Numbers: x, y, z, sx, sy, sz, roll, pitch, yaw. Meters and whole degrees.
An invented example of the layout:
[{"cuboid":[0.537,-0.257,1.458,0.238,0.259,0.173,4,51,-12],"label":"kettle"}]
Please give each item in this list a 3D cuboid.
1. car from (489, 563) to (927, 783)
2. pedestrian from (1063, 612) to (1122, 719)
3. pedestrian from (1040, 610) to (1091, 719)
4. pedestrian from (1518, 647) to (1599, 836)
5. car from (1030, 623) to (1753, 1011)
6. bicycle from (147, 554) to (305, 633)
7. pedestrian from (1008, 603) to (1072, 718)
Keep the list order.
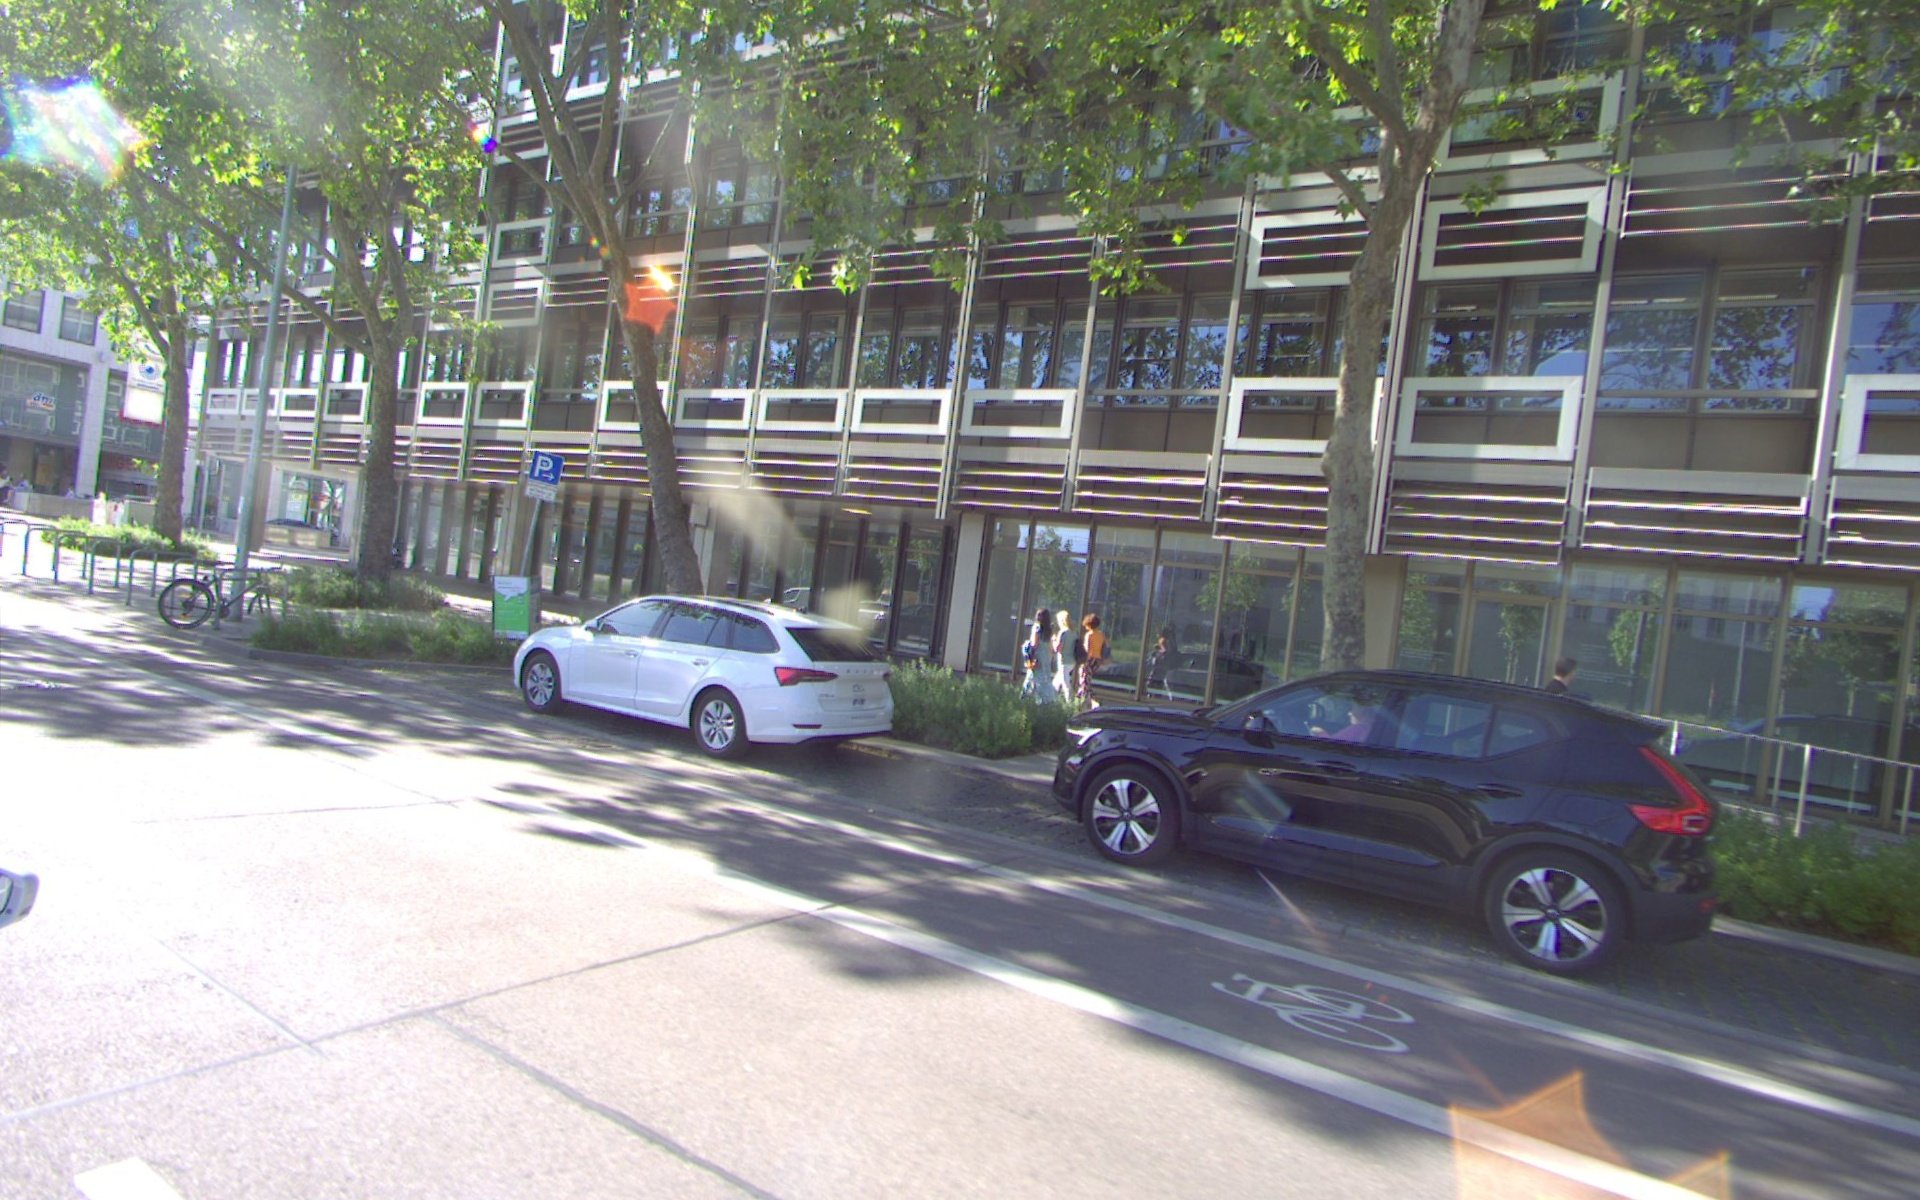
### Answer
[{"cuboid":[-2.773,0.666,10.661,4.524,1.510,1.707,8,0,32],"label":"car"},{"cuboid":[2.132,1.054,16.134,0.563,1.622,0.554,8,0,32],"label":"pedestrian"},{"cuboid":[1.625,0.994,15.500,0.492,1.603,0.316,8,0,23],"label":"pedestrian"},{"cuboid":[6.565,1.542,11.045,0.548,1.938,0.678,7,-2,31],"label":"pedestrian"},{"cuboid":[2.799,1.253,7.151,4.122,1.582,1.707,7,-1,32],"label":"car"},{"cuboid":[-10.237,-0.066,14.099,0.470,0.969,1.696,8,1,27],"label":"bicycle"},{"cuboid":[1.195,0.900,14.987,0.623,1.603,0.507,8,0,23],"label":"pedestrian"}]
